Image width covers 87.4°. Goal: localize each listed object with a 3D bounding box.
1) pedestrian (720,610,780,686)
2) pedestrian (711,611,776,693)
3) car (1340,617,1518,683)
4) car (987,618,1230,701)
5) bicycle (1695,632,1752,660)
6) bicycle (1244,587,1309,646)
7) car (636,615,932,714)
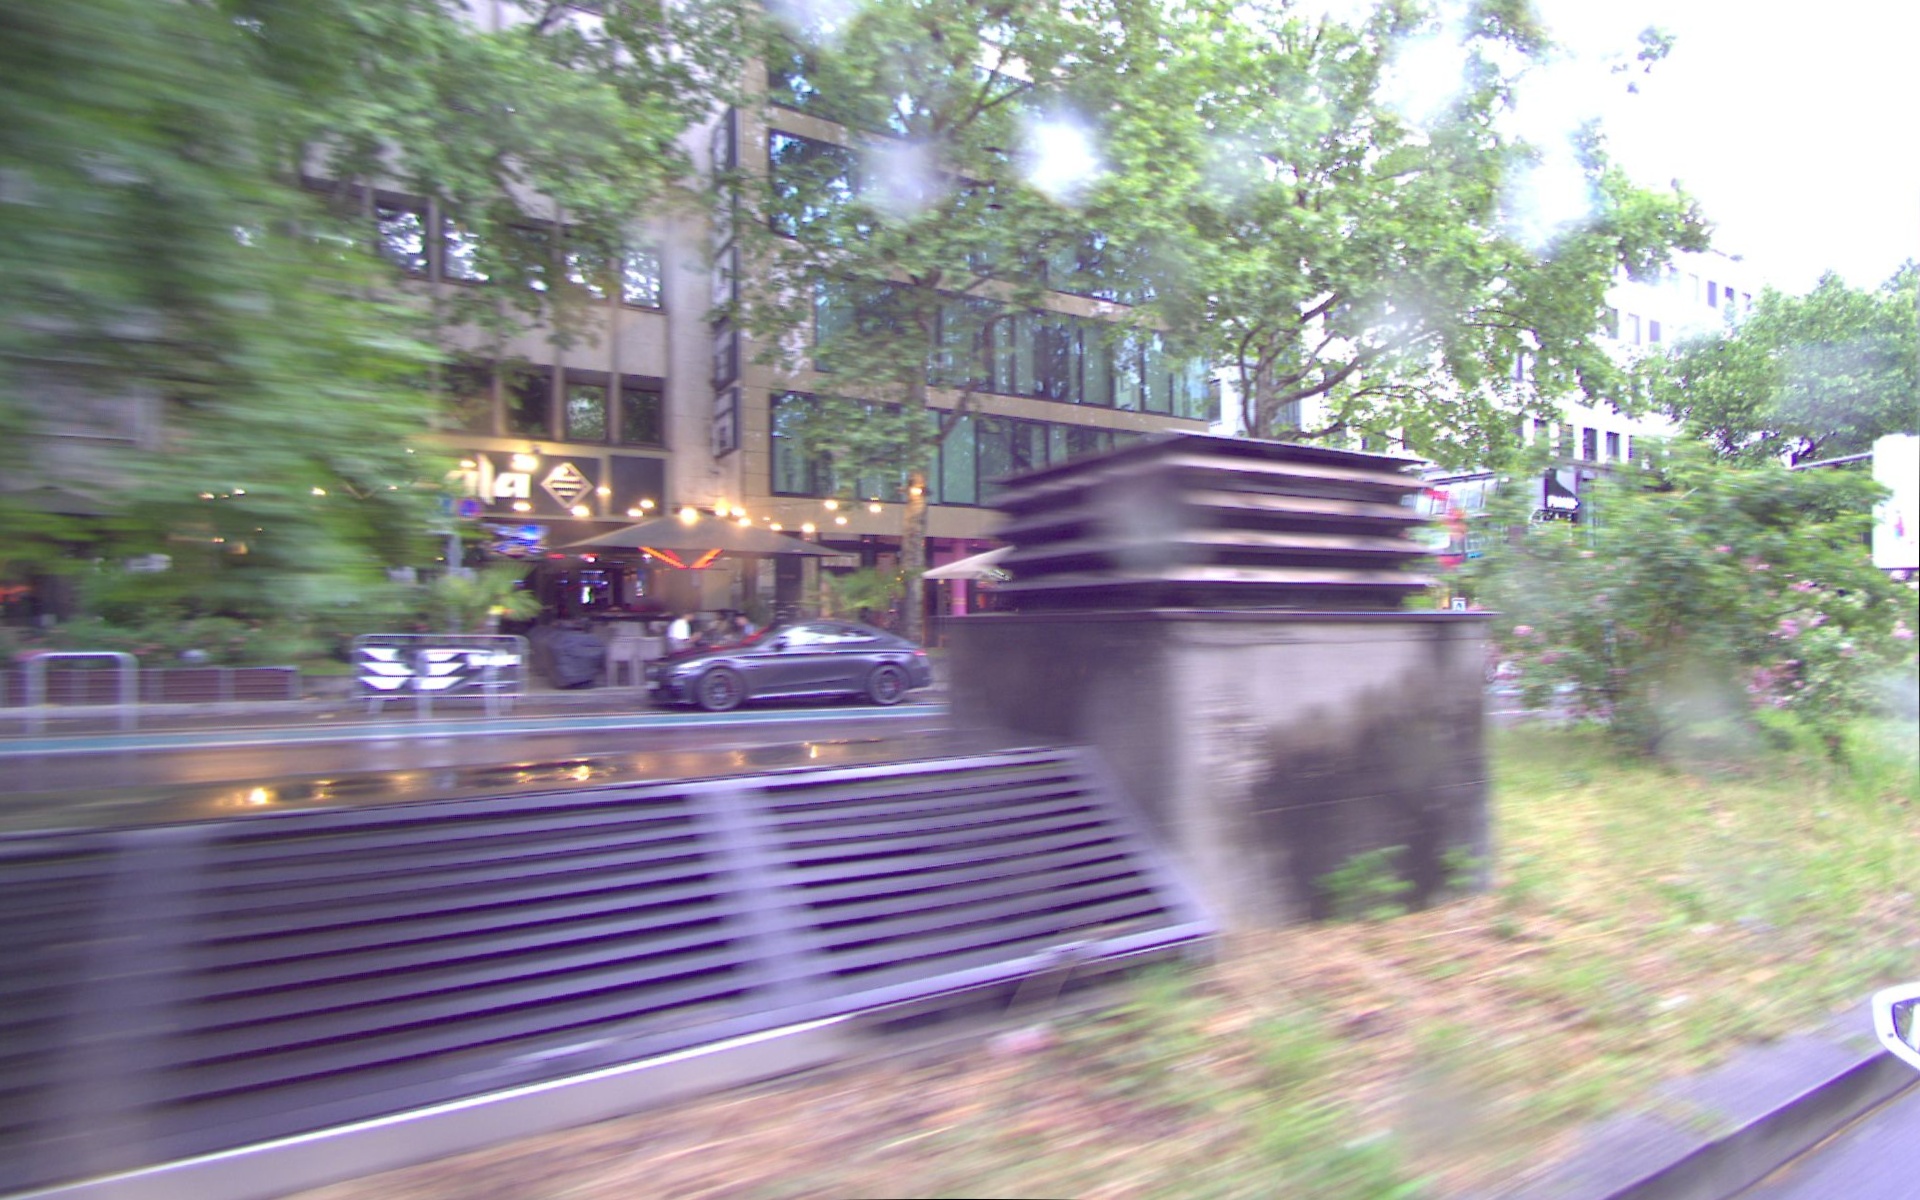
[{"bbox_3d":[-4.033,0.905,19.281,0.923,1.398,0.759,1,0,-33],"label":"pedestrian"},{"bbox_3d":[-4.147,0.969,19.225,0.963,1.508,0.824,1,0,-33],"label":"pedestrian"},{"bbox_3d":[11.834,1.208,25.266,4.468,1.529,1.983,1,-1,-32],"label":"car"},{"bbox_3d":[2.962,1.104,19.822,4.486,1.388,1.984,1,1,-30],"label":"car"},{"bbox_3d":[28.331,1.710,37.277,0.505,0.975,1.606,1,-1,-37],"label":"bicycle"},{"bbox_3d":[11.260,0.578,35.817,0.682,2.040,2.374,1,-1,-31],"label":"bicycle"},{"bbox_3d":[-2.832,0.982,16.439,4.431,1.413,1.816,1,-1,-30],"label":"car"}]
